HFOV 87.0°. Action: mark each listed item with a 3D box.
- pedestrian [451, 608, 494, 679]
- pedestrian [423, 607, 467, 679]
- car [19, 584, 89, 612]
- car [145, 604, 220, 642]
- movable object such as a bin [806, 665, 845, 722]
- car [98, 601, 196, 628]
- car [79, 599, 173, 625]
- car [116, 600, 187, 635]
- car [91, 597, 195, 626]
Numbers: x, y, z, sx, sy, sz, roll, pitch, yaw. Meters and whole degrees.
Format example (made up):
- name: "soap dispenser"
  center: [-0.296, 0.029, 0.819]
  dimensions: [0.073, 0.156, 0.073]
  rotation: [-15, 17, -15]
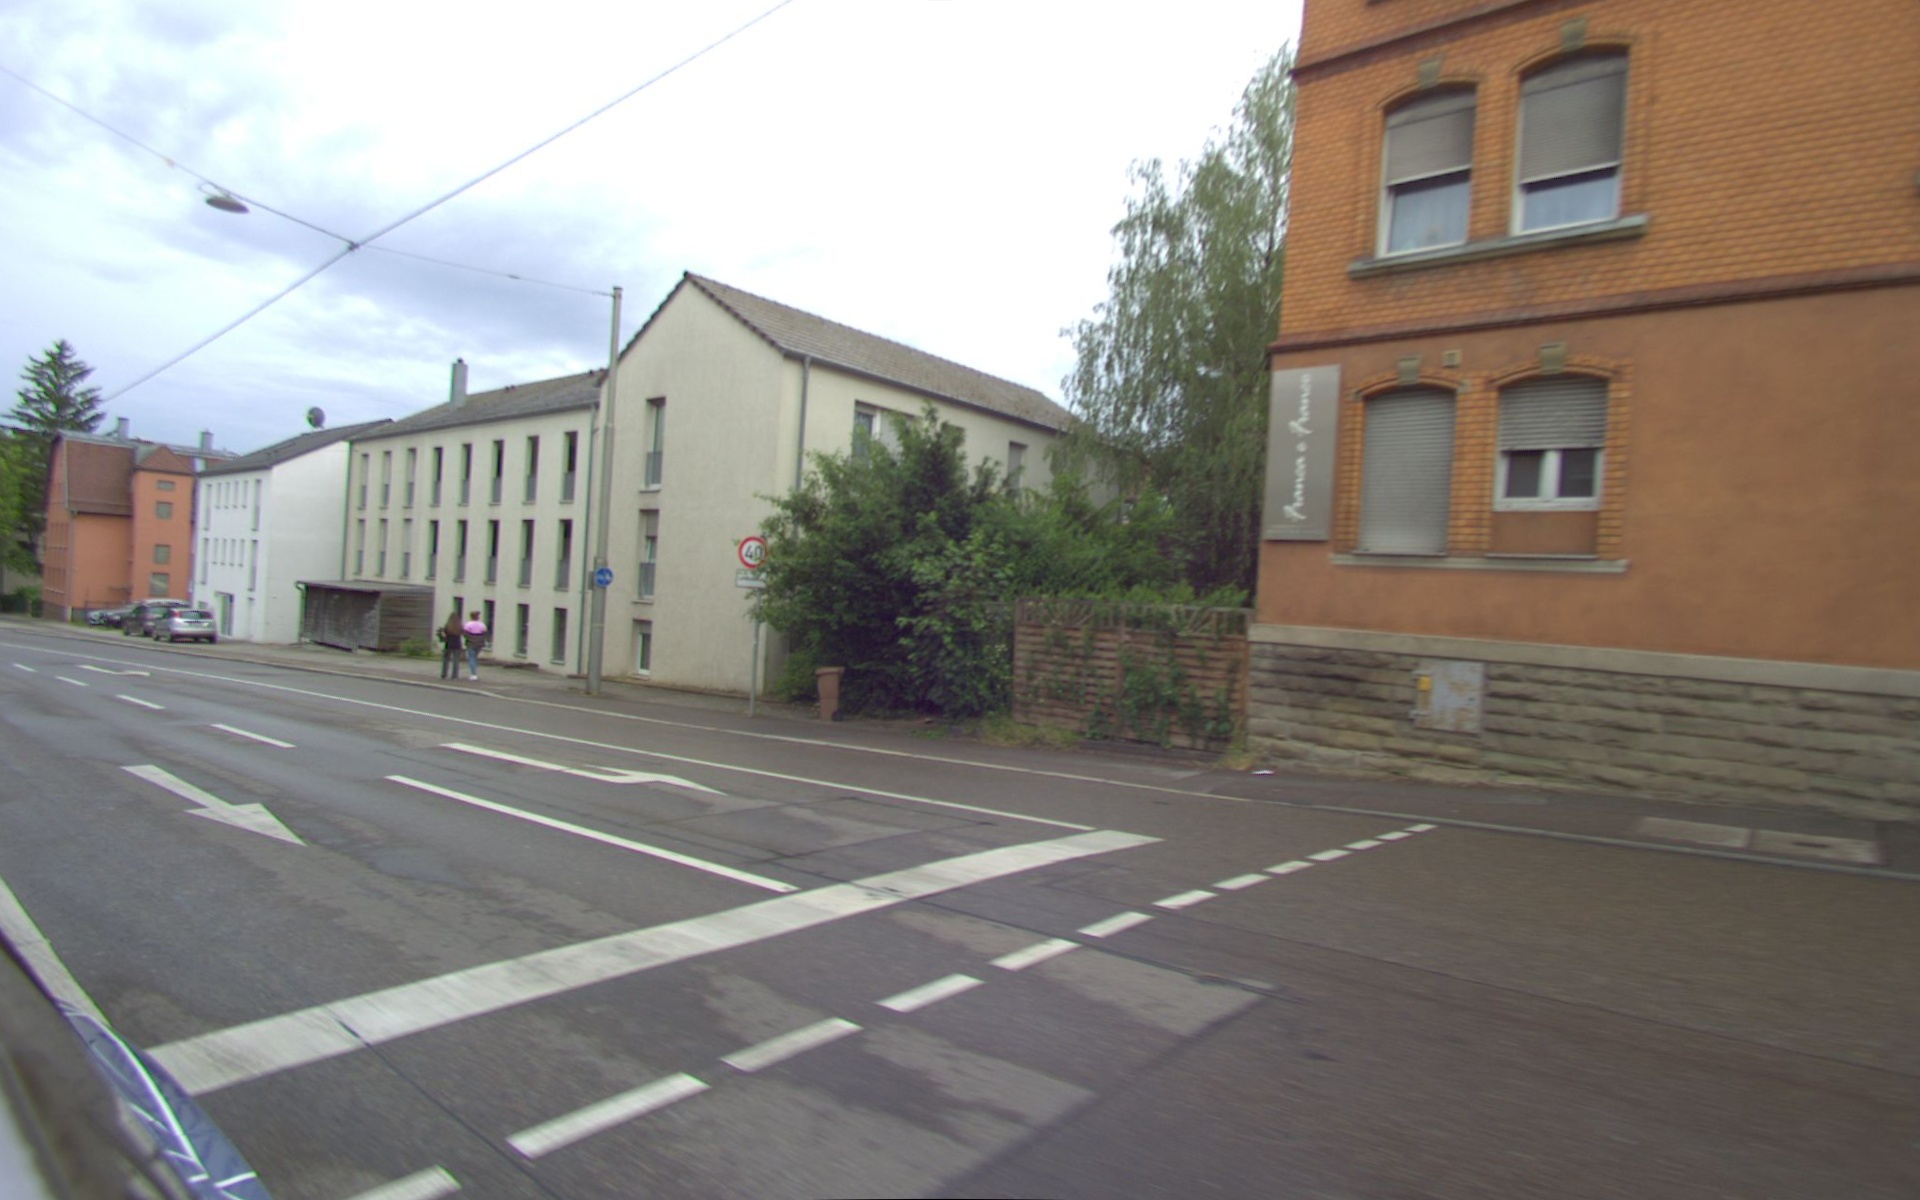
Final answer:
- name: "pedestrian"
  center: [-12.284, 1.081, 25.480]
  dimensions: [0.911, 1.719, 0.633]
  rotation: [0, -1, 42]
- name: "pedestrian"
  center: [-12.711, 1.043, 24.983]
  dimensions: [0.911, 1.719, 0.633]
  rotation: [0, -1, 42]
- name: "car"
  center: [-70.021, -0.165, 78.251]
  dimensions: [3.938, 2.029, 2.003]
  rotation: [2, 0, -42]
- name: "car"
  center: [-34.140, 0.991, 44.401]
  dimensions: [4.175, 1.519, 1.727]
  rotation: [1, -2, 41]
- name: "movable object such as a bin"
  center: [-2.348, 1.625, 17.706]
  dimensions: [0.525, 0.932, 0.406]
  rotation: [1, 0, 34]
- name: "car"
  center: [-45.818, 0.795, 57.106]
  dimensions: [1.895, 1.475, 4.082]
  rotation: [1, 0, 42]
- name: "car"
  center: [-49.851, 0.703, 60.525]
  dimensions: [2.000, 1.444, 4.117]
  rotation: [1, 0, 42]
- name: "car"
  center: [-39.245, 0.827, 49.099]
  dimensions: [4.076, 1.564, 1.729]
  rotation: [1, 0, 37]
- name: "car"
  center: [-47.719, 0.661, 59.172]
  dimensions: [2.153, 1.620, 4.482]
  rotation: [1, 0, 42]
